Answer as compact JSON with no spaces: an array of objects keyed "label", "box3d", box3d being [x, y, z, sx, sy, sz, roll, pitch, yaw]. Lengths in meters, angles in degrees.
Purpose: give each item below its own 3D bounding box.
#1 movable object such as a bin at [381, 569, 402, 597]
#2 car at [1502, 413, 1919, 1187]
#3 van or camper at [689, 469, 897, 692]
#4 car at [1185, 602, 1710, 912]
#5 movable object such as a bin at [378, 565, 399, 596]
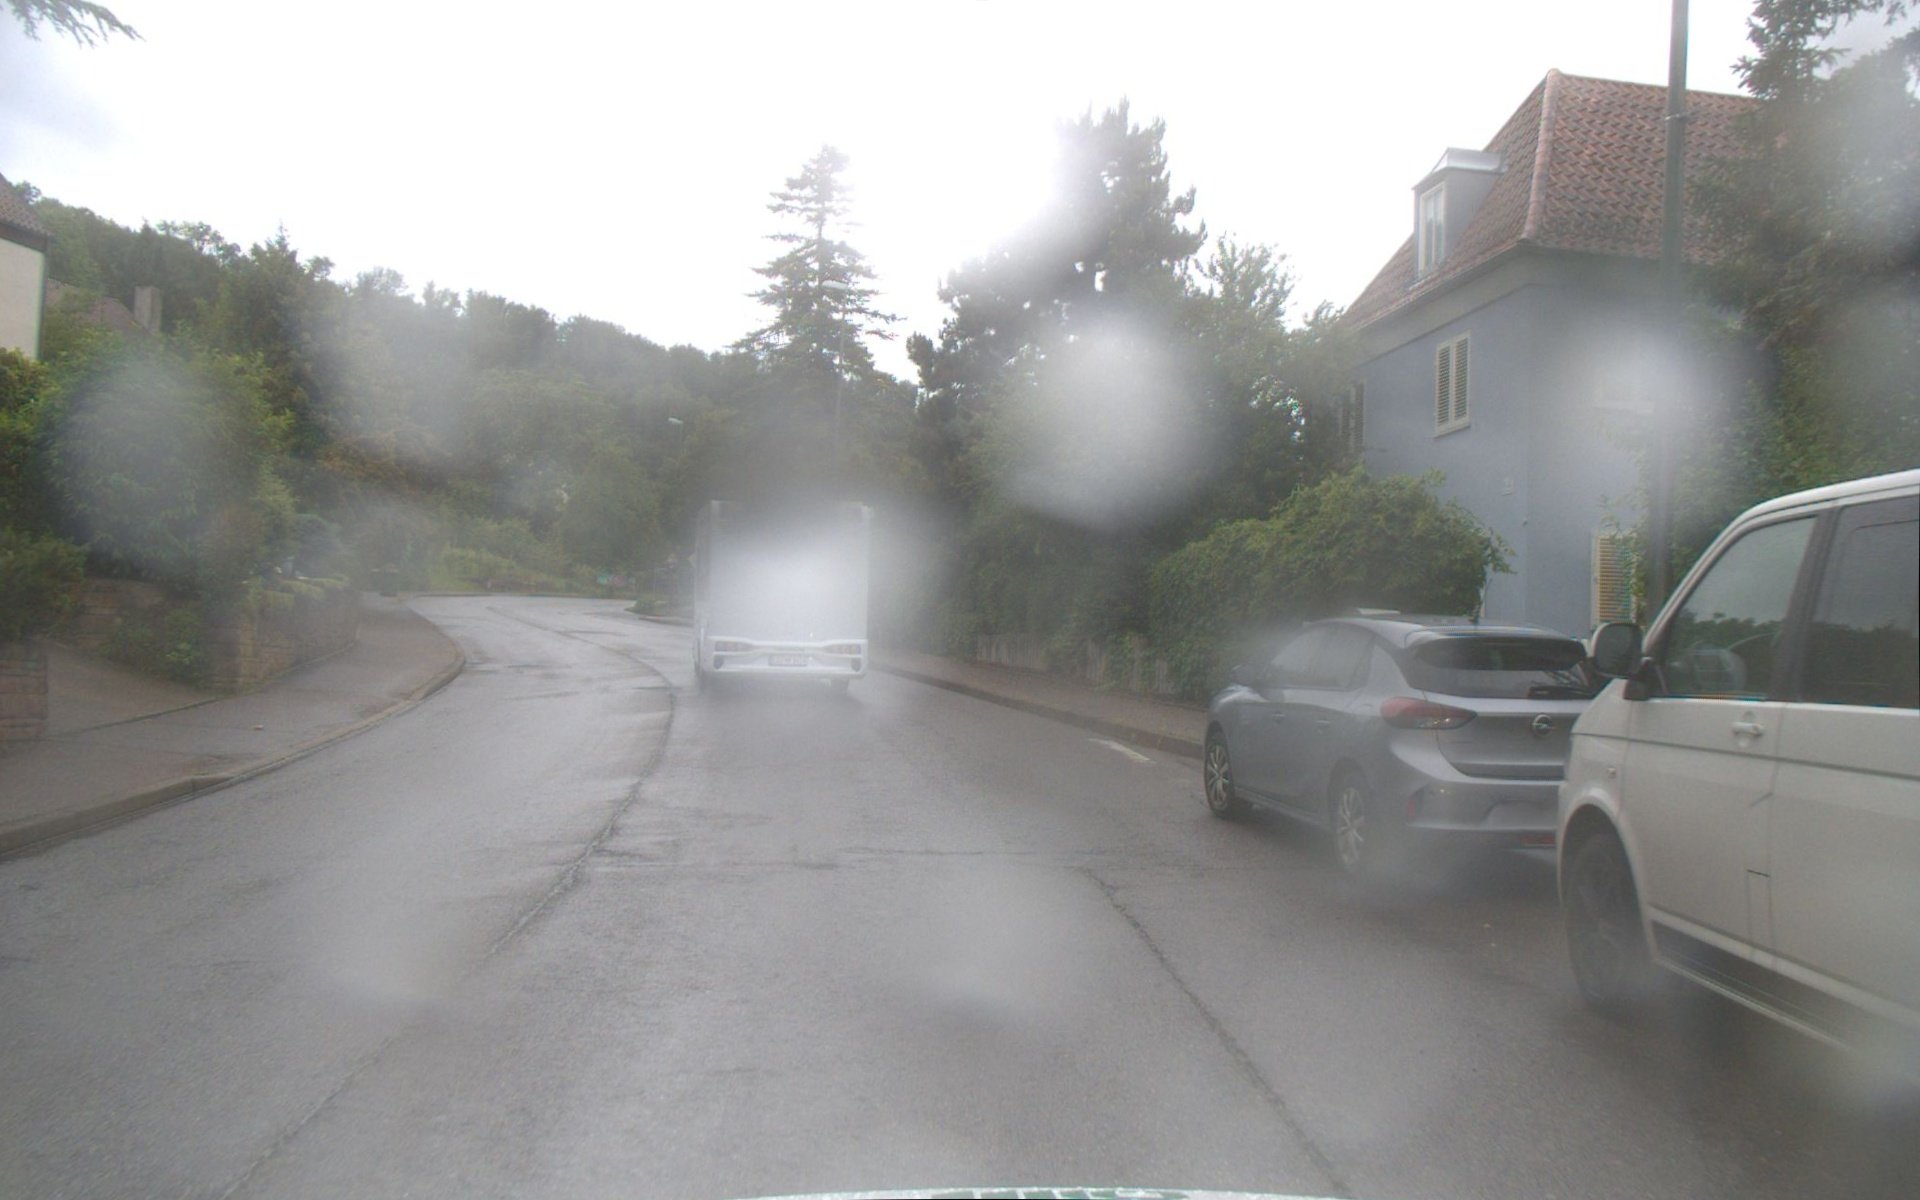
[{"label":"movable object such as a bin","box3d":[-23.517,-0.697,68.427,0.731,1.113,0.752,3,0,-23]},{"label":"car","box3d":[3.342,0.523,4.716,1.822,1.954,5.078,2,0,-1]},{"label":"van or camper","box3d":[-2.727,-0.202,25.340,2.569,2.903,6.015,2,-1,-11]},{"label":"car","box3d":[2.764,0.811,10.402,1.653,1.482,4.051,2,0,-7]},{"label":"movable object such as a bin","box3d":[-23.917,-0.809,69.223,0.731,1.275,0.752,3,0,-23]}]
